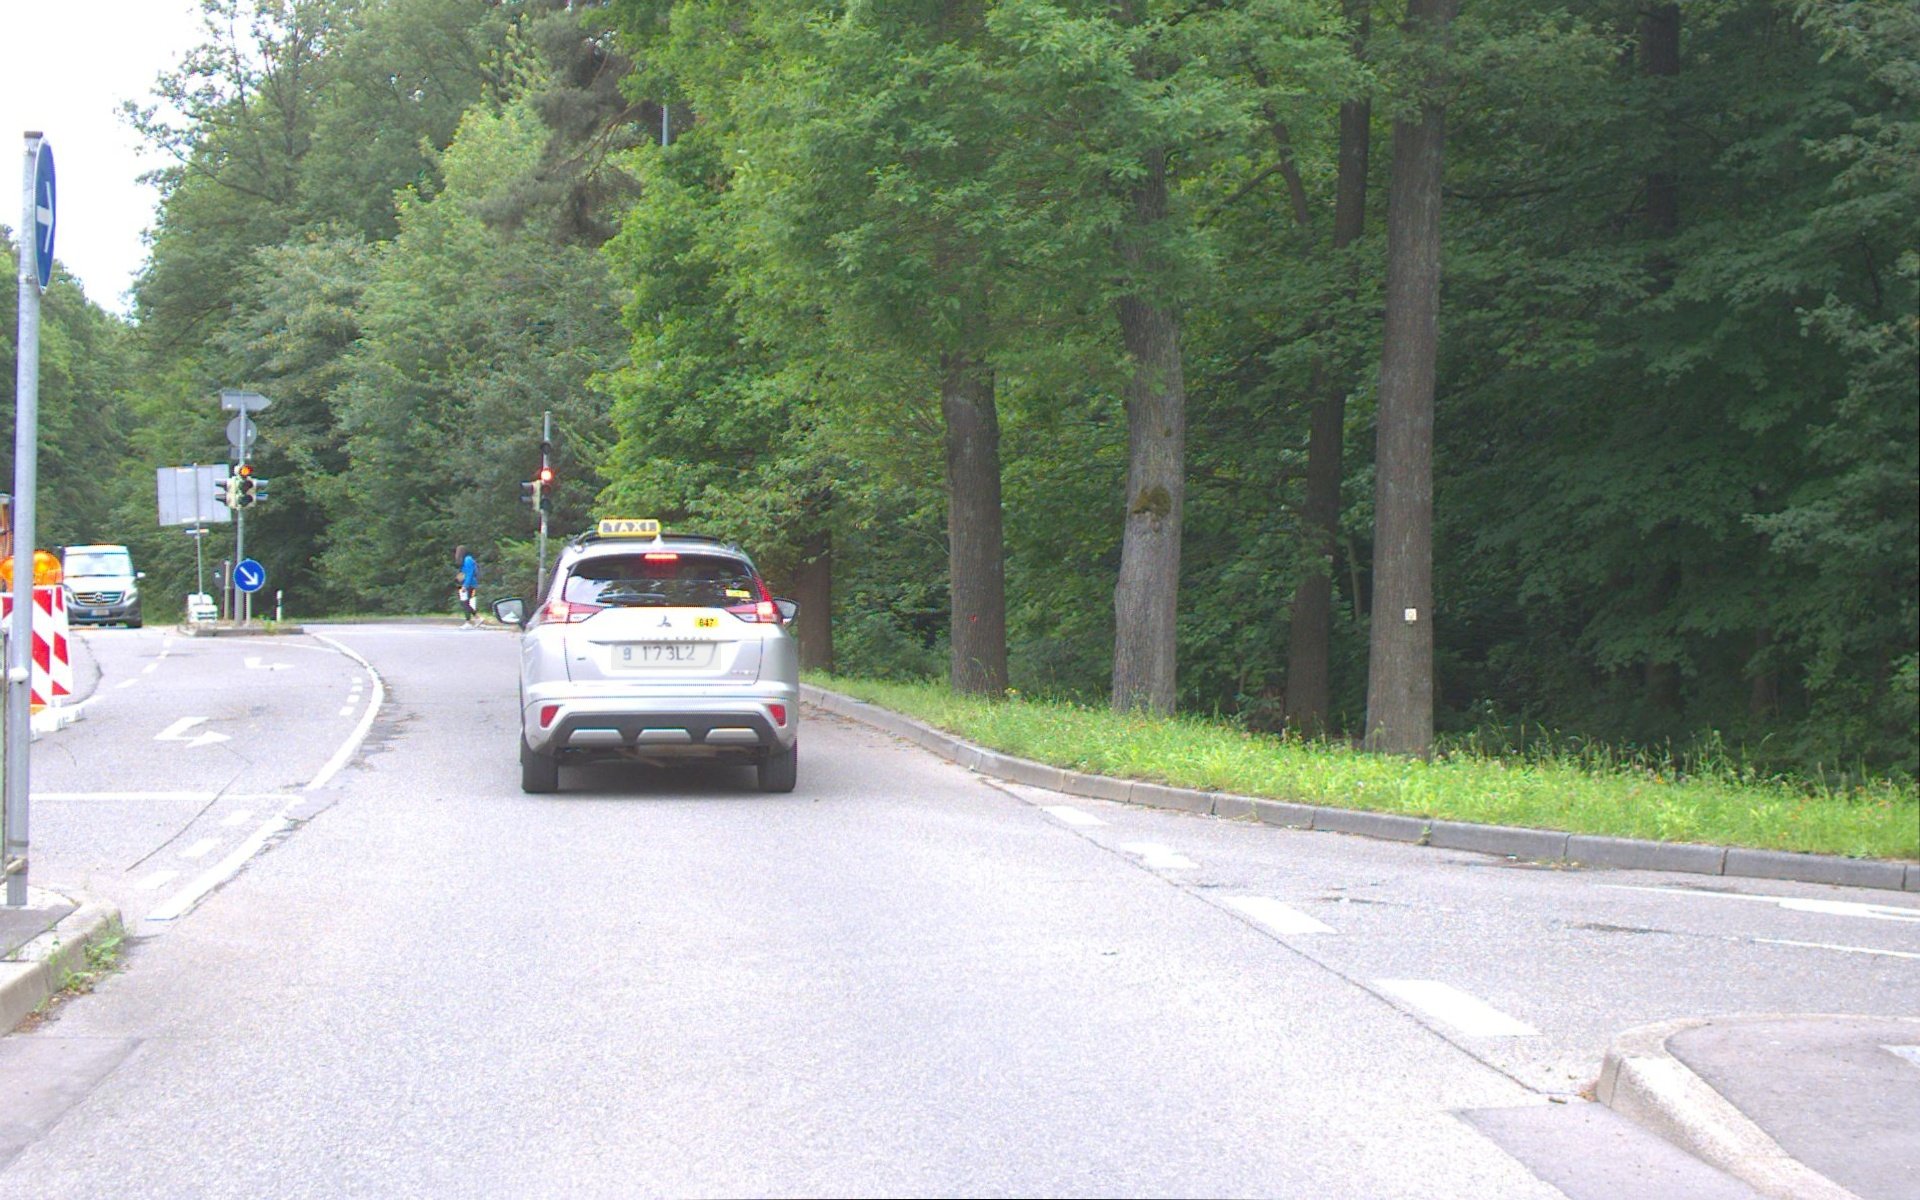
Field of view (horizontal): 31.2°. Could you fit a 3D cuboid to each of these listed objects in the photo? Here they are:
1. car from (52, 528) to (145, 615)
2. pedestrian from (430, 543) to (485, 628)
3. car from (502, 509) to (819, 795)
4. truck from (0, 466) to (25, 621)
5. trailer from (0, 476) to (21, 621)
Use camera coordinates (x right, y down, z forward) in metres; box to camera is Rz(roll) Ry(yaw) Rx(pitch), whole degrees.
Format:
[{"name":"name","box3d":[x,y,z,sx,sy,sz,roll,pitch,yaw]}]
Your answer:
[{"name":"car","box3d":[-19.970,-0.643,79.573,1.993,1.887,4.840,-2,0,-15]},{"name":"pedestrian","box3d":[-9.915,-0.289,67.912,1.047,1.643,1.069,0,1,-7]},{"name":"car","box3d":[-1.952,0.287,23.435,1.846,1.774,4.000,0,1,-1]},{"name":"truck","box3d":[-22.269,-1.164,76.337,2.738,3.307,7.162,-1,0,-16]},{"name":"trailer","box3d":[-23.962,-1.125,82.210,2.738,3.307,8.571,-1,0,-16]}]
